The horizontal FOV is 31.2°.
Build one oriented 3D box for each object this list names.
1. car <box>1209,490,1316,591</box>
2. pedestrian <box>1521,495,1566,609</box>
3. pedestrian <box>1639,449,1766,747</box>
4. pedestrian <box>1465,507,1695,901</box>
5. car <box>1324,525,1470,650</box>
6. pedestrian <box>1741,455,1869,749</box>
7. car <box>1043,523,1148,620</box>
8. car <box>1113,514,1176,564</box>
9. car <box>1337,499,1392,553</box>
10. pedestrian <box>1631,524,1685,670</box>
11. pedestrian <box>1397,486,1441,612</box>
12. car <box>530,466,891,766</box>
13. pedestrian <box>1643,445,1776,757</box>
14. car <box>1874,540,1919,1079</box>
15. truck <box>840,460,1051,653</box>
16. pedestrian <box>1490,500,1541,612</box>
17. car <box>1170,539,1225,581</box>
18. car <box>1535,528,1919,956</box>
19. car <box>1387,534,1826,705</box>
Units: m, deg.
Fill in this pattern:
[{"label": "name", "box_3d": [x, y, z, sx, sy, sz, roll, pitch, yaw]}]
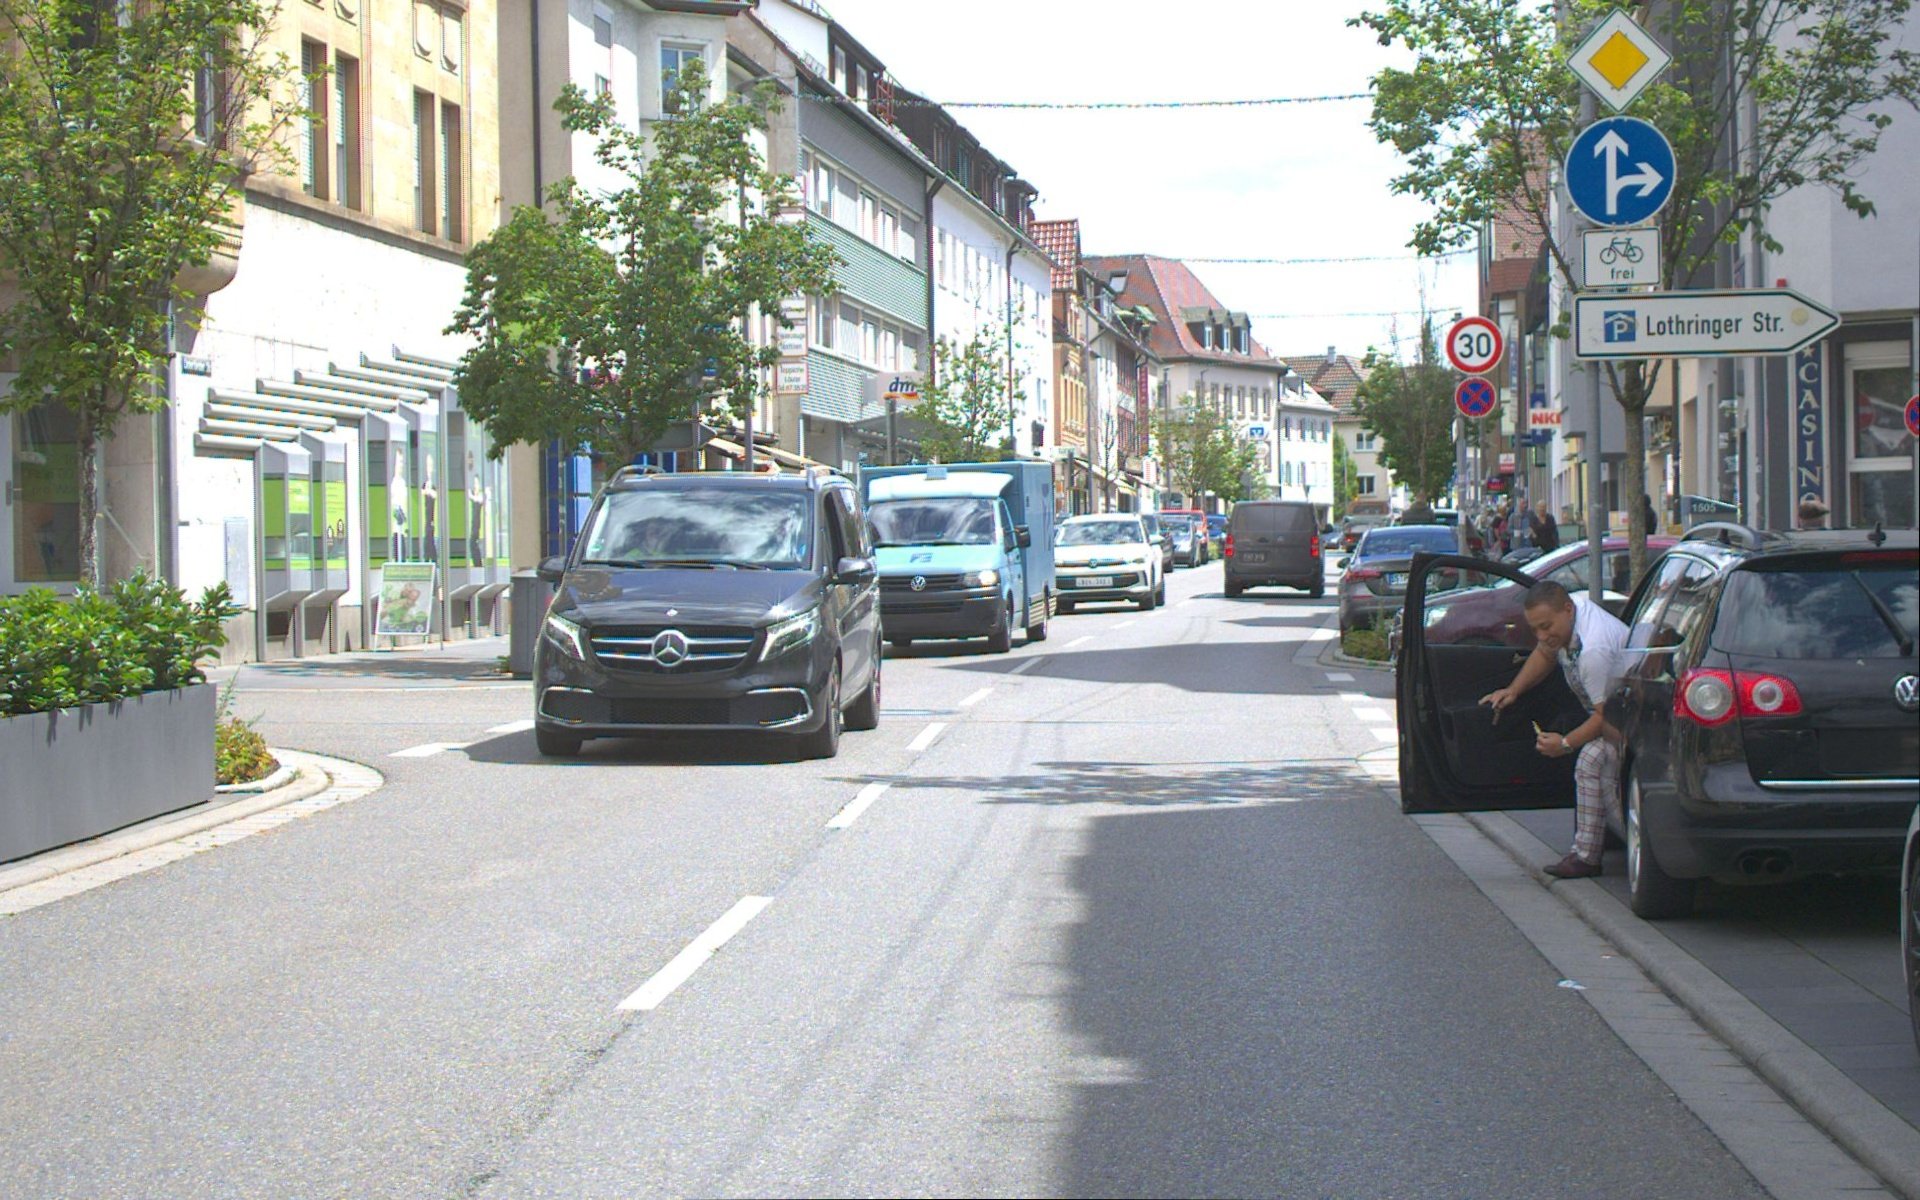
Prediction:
[{"label": "car", "box_3d": [5.961, -1.190, 67.276, 1.972, 1.869, 5.037, -1, 2, 6]}, {"label": "pedestrian", "box_3d": [10.373, -0.860, 61.114, 0.682, 2.007, 0.599, 0, 1, 1]}, {"label": "pedestrian", "box_3d": [5.081, -0.019, 23.559, 0.689, 2.007, 0.724, 0, 1, -1]}, {"label": "pedestrian", "box_3d": [2.597, 0.417, 14.390, 0.666, 1.588, 0.676, 2, 1, 40]}, {"label": "car", "box_3d": [5.311, -0.187, 42.048, 1.521, 1.429, 3.370, -1, 2, 3]}, {"label": "pedestrian", "box_3d": [5.856, 0.010, 23.846, 0.689, 2.007, 0.724, 0, 1, -1]}, {"label": "car", "box_3d": [2.283, -0.499, 57.876, 1.697, 1.579, 3.957, 0, 1, 2]}, {"label": "car", "box_3d": [5.987, -1.990, 111.756, 1.994, 1.579, 4.000, 0, 1, 2]}, {"label": "car", "box_3d": [17.985, -3.267, 152.725, 2.066, 2.293, 4.222, 1, 1, 11]}, {"label": "pedestrian", "box_3d": [9.138, -0.038, 45.029, 0.594, 1.883, 0.572, 1, 0, 6]}, {"label": "pedestrian", "box_3d": [7.376, -0.815, 55.246, 0.682, 2.007, 0.598, 1, 1, 7]}, {"label": "car", "box_3d": [-1.576, 0.036, 23.356, 1.835, 1.828, 4.570, 0, 2, 4]}, {"label": "pedestrian", "box_3d": [4.887, 0.000, 22.439, 0.689, 2.007, 0.724, 0, 1, -1]}, {"label": "car", "box_3d": [3.241, 0.583, 7.356, 1.621, 1.429, 4.239, -2, 1, 3]}, {"label": "truck", "box_3d": [-0.093, -0.565, 41.608, 2.066, 2.157, 5.293, -1, 2, 5]}, {"label": "pedestrian", "box_3d": [9.488, -0.751, 58.716, 0.570, 1.883, 0.646, 1, 1, -23]}, {"label": "car", "box_3d": [9.103, -1.561, 132.057, 1.994, 1.579, 4.000, 0, 1, 2]}, {"label": "car", "box_3d": [3.363, 0.447, 13.886, 1.606, 1.429, 4.174, -1, 2, 3]}, {"label": "car", "box_3d": [5.702, 0.160, 30.612, 3.621, 1.408, 1.589, 1, 1, 3]}]
